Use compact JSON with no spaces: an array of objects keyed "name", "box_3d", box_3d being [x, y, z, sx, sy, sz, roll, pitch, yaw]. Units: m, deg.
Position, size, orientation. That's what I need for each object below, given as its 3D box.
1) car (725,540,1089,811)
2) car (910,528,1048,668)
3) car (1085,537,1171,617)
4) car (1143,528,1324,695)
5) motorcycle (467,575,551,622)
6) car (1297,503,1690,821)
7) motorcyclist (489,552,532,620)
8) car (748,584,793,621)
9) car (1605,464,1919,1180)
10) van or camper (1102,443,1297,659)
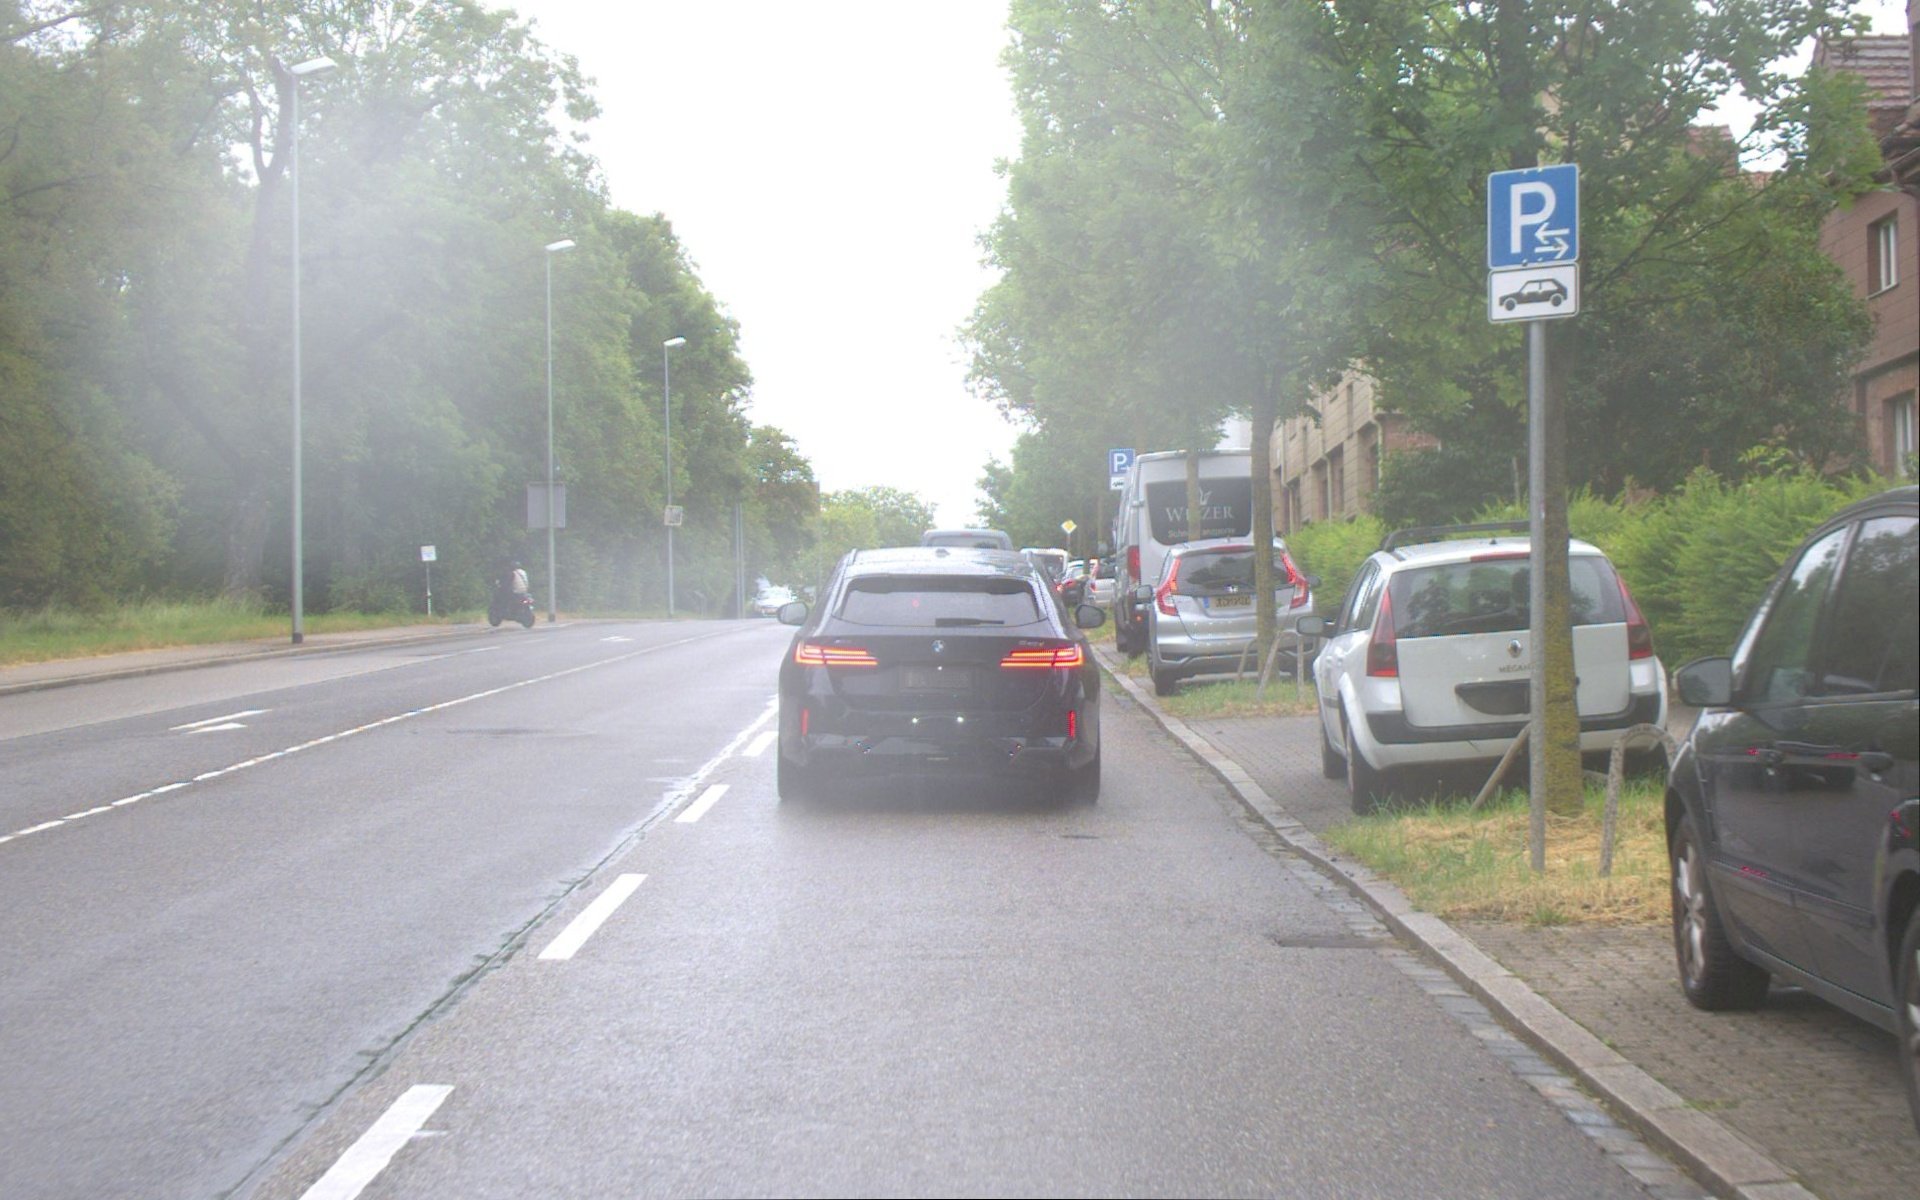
[{"name":"car","box_3d":[-0.316,0.414,21.288,1.993,1.448,4.000,2,0,-1]},{"name":"car","box_3d":[0.312,-0.035,51.508,1.993,2.007,4.000,0,0,1]},{"name":"car","box_3d":[3.637,-0.528,74.993,1.702,1.579,4.642,-4,1,2]},{"name":"car","box_3d":[2.766,0.086,35.428,1.668,1.523,3.831,-3,1,3]},{"name":"motorcycle","box_3d":[-11.163,-0.052,85.024,2.187,1.114,0.822,2,1,42]},{"name":"car","box_3d":[3.011,0.282,20.250,1.824,1.597,4.473,-2,1,4]},{"name":"motorcyclist","box_3d":[-11.108,-0.346,84.987,0.651,1.675,0.811,2,1,43]},{"name":"car","box_3d":[-8.069,0.089,146.708,1.689,1.478,4.452,-2,0,-1]},{"name":"car","box_3d":[3.124,0.461,9.333,1.824,1.672,4.584,-2,1,0]},{"name":"van or camper","box_3d":[3.172,-0.687,46.995,2.198,2.642,7.301,-2,1,1]}]
